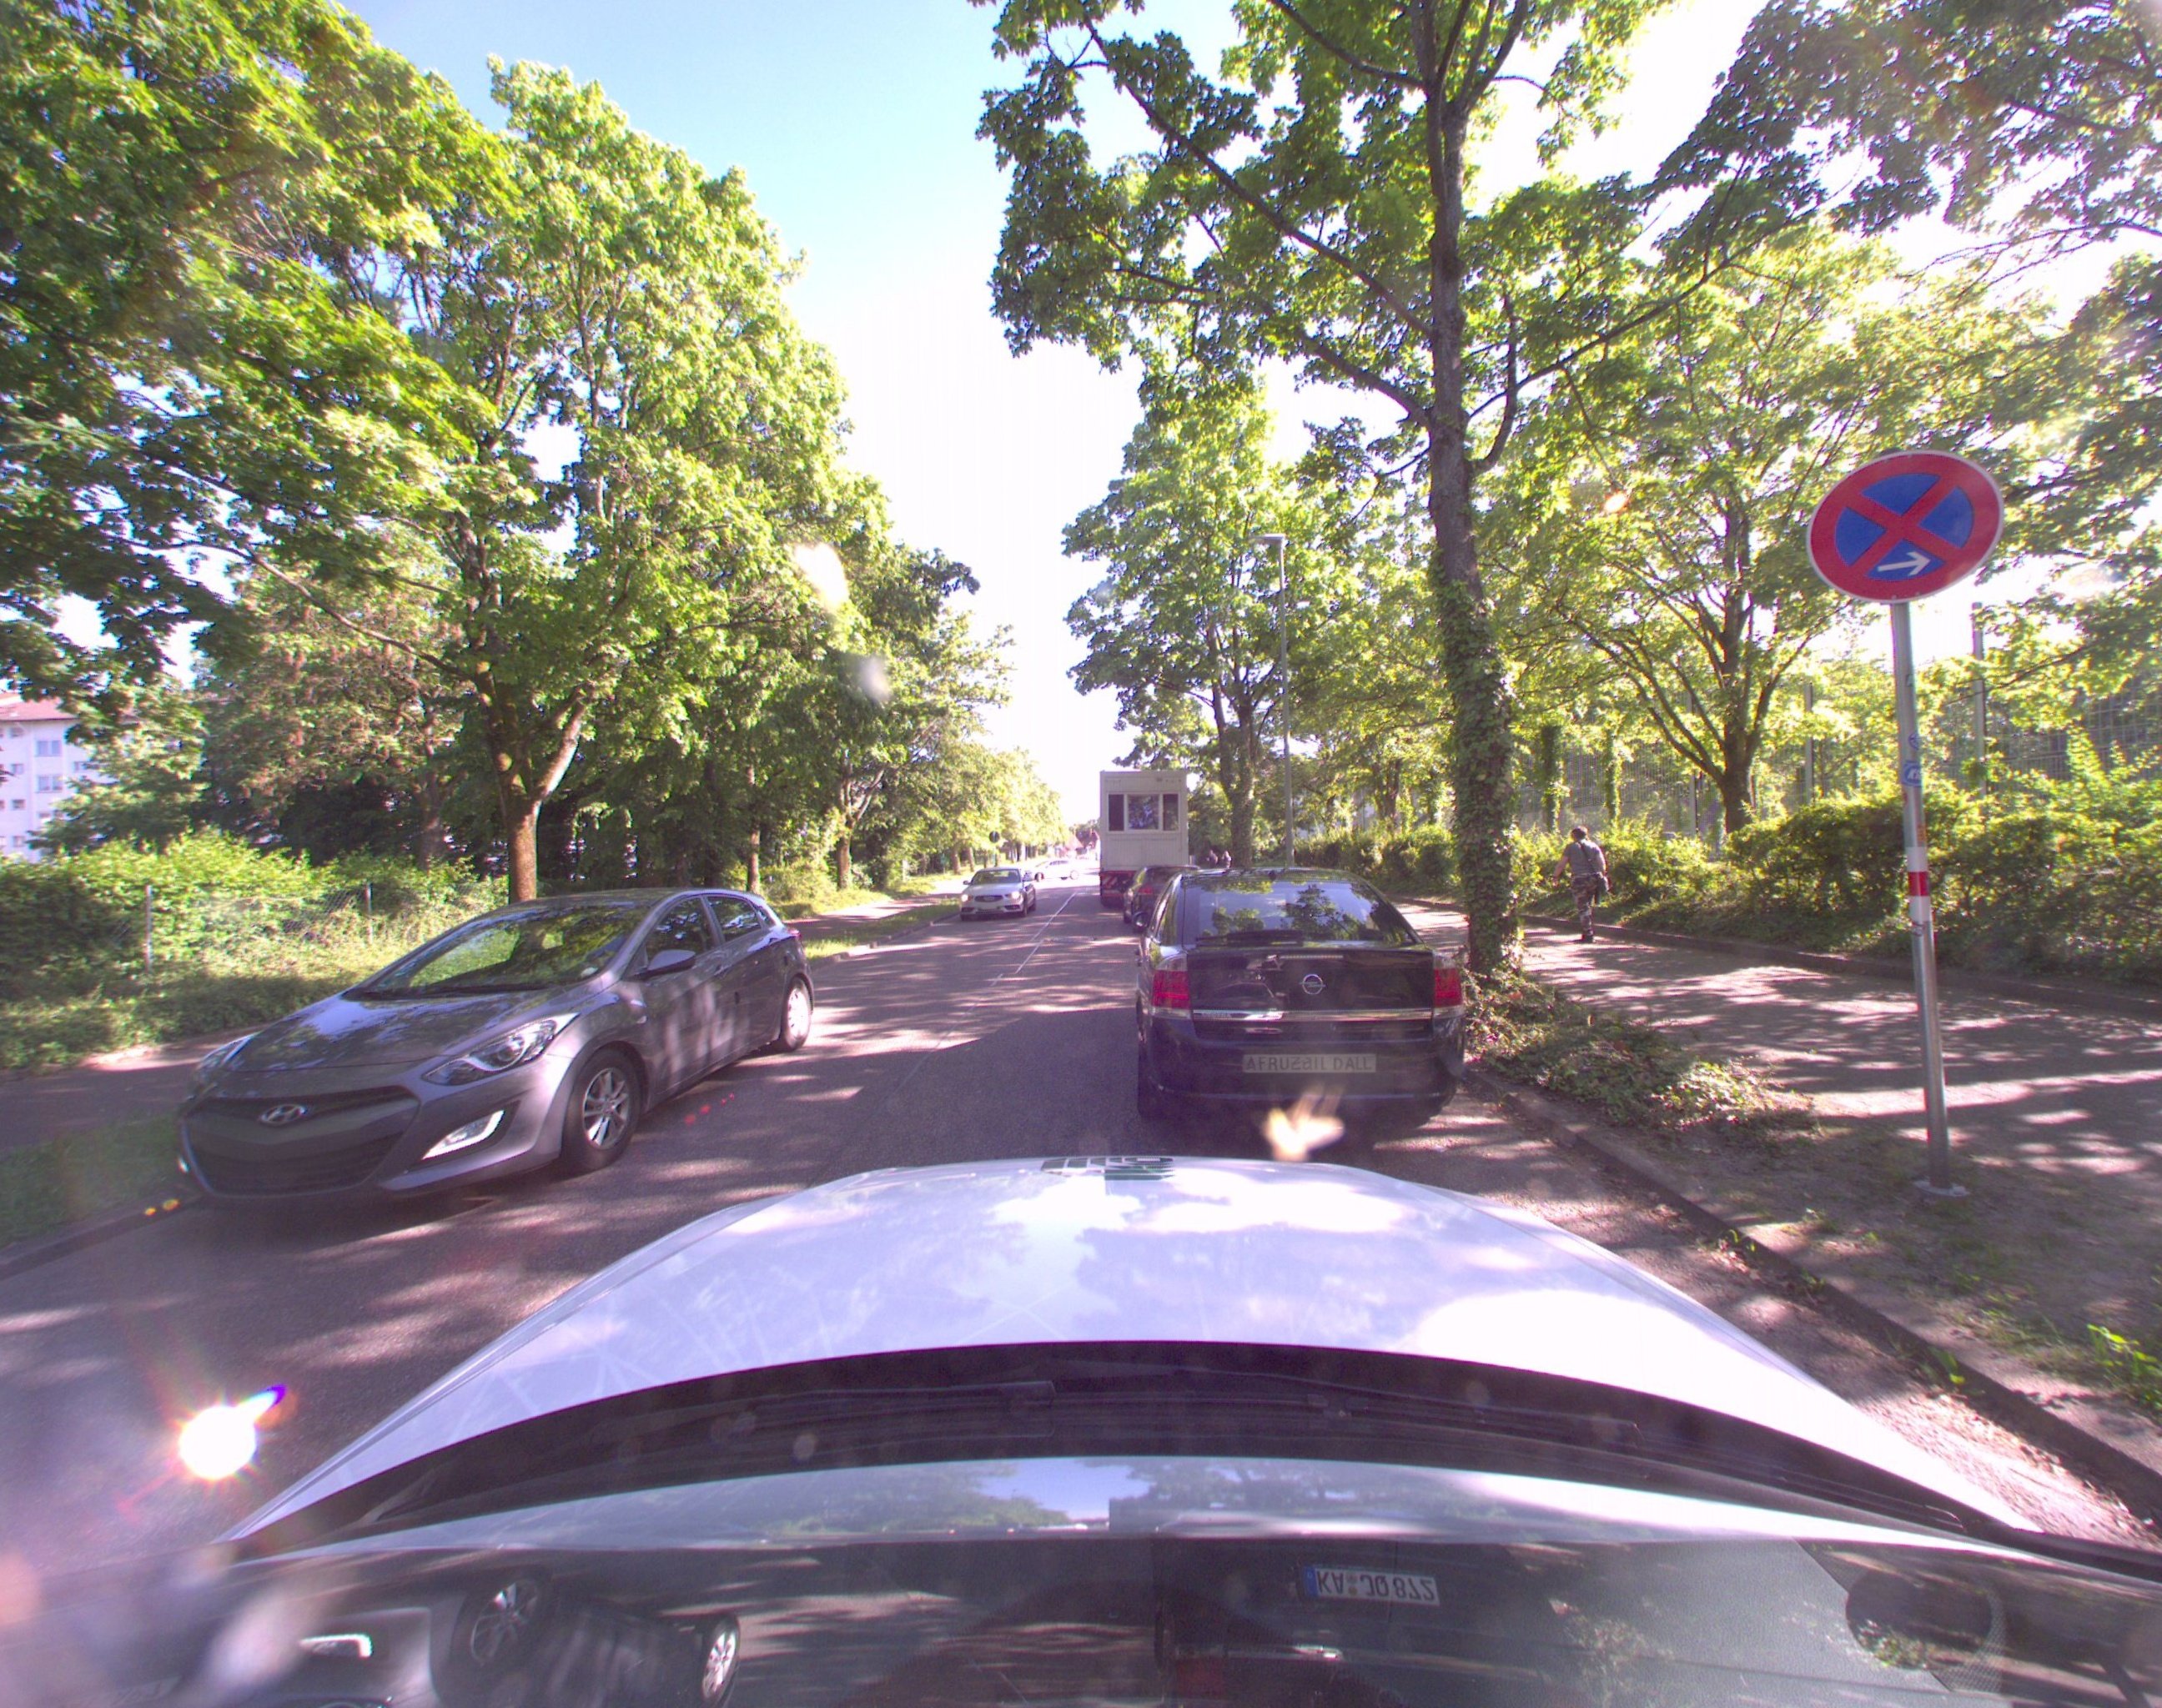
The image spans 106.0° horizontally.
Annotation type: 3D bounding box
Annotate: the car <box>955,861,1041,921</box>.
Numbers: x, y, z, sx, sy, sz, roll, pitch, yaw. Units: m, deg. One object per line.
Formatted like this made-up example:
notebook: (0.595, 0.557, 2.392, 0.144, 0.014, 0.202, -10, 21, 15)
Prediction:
car: (-2.292, 0.990, 23.544, 1.779, 1.416, 4.108, -3, 0, 3)

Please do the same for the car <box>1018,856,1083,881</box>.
car: (-2.054, 1.001, 54.876, 3.966, 1.420, 1.796, -4, 0, -25)

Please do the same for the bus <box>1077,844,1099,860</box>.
bus: (1.640, -0.524, 183.051, 4.047, 3.349, 9.811, -3, 0, 4)

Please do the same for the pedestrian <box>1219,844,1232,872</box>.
pedestrian: (9.521, 0.275, 53.672, 0.696, 1.812, 0.700, -3, 0, -2)

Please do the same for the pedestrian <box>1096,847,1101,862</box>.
pedestrian: (2.587, 0.063, 118.645, 0.749, 2.113, 0.800, 0, 0, 4)

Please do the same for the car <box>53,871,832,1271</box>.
car: (-3.302, 0.949, 5.496, 1.749, 1.454, 4.244, -3, 0, 1)

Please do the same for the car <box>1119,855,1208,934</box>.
car: (1.746, 0.791, 17.810, 1.633, 1.420, 4.004, -3, 0, 4)

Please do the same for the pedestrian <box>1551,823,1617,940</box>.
pedestrian: (7.125, 0.383, 11.560, 0.568, 1.608, 0.673, -1, 0, 11)

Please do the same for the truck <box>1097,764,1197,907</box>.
truck: (1.974, -0.528, 28.084, 2.763, 3.996, 10.351, -1, 0, 1)

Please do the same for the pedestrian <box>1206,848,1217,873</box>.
pedestrian: (8.594, 0.450, 53.663, 0.596, 1.611, 0.600, -3, 0, -2)

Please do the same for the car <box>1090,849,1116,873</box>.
car: (1.832, 0.581, 68.461, 1.941, 1.843, 3.998, -2, 0, -1)

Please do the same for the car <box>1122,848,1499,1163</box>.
car: (1.211, 0.745, 5.890, 1.741, 1.480, 4.034, -1, -1, 4)

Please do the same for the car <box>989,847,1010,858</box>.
car: (-17.220, -0.325, 172.364, 3.970, 2.013, 2.002, -4, 0, 3)
